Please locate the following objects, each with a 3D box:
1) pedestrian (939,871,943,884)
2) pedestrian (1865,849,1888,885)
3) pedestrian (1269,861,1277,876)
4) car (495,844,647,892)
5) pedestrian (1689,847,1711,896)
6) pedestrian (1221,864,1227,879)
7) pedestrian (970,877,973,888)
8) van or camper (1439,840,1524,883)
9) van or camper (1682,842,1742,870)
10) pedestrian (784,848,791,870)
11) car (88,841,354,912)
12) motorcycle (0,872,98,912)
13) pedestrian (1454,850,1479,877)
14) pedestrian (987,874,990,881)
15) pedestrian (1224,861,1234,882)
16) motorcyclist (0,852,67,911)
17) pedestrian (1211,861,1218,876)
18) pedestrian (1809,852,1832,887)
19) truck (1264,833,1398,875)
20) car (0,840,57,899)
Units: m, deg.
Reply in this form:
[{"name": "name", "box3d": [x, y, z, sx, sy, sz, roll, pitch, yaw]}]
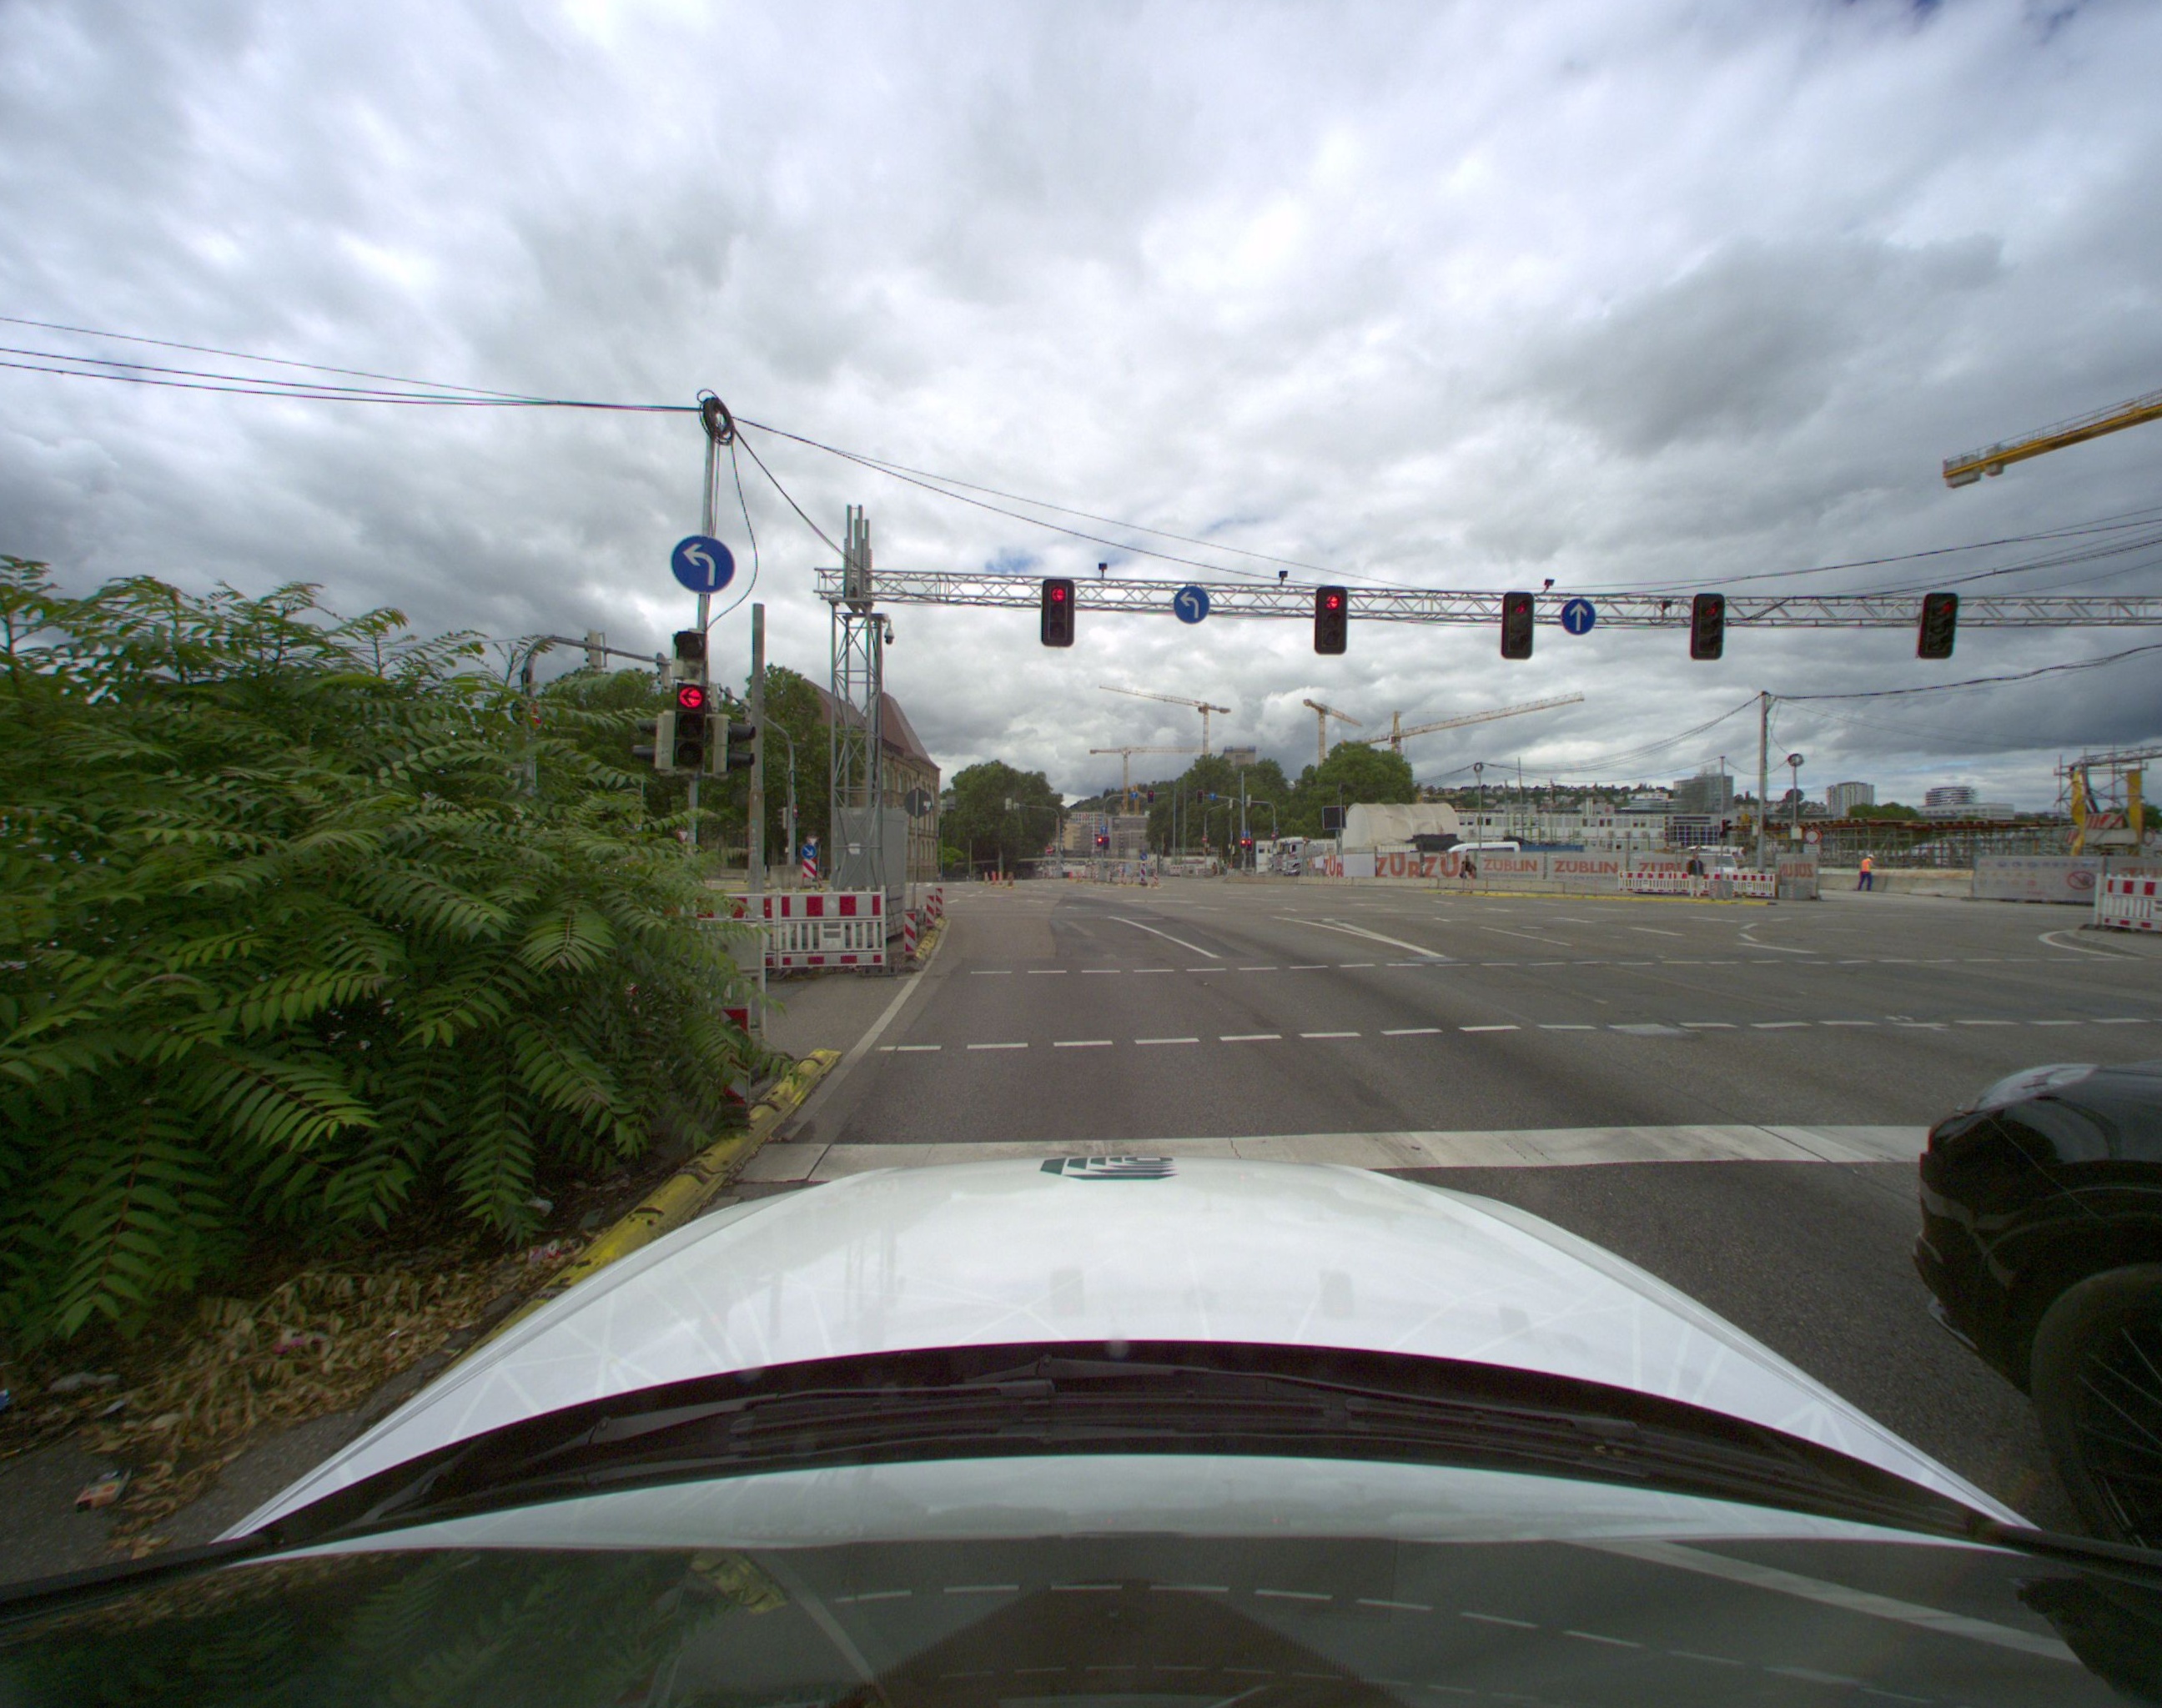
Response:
[{"name": "pedestrian", "box3d": [-20.929, 3.534, 122.029, 0.522, 2.014, 0.567, 0, 0, 2]}, {"name": "pedestrian", "box3d": [39.193, 0.638, 40.107, 0.651, 1.717, 0.516, 0, 0, -9]}, {"name": "pedestrian", "box3d": [21.137, 1.594, 89.709, 0.615, 1.689, 0.716, 0, 0, 31]}, {"name": "car", "box3d": [-18.823, 0.505, 30.256, 4.315, 1.676, 1.992, 0, 0, -12]}, {"name": "pedestrian", "box3d": [25.627, 0.730, 33.724, 0.645, 2.013, 0.520, 0, 0, 27]}, {"name": "pedestrian", "box3d": [15.909, 1.980, 90.539, 0.564, 1.689, 0.472, 0, 0, 1]}, {"name": "pedestrian", "box3d": [-20.891, 5.431, 155.162, 0.522, 2.014, 0.567, 0, 0, 2]}, {"name": "van or camper", "box3d": [23.149, 0.420, 47.207, 4.181, 2.357, 2.009, 0, 0, 16]}, {"name": "van or camper", "box3d": [67.344, 0.198, 86.899, 5.282, 2.911, 1.993, 0, -1, -10]}, {"name": "pedestrian", "box3d": [-26.693, 0.426, 74.088, 0.530, 2.014, 0.423, 1, -1, -42]}, {"name": "car", "box3d": [-21.216, 0.531, 20.265, 4.302, 1.676, 1.998, 0, 0, -3]}, {"name": "motorcycle", "box3d": [-25.476, 0.923, 19.819, 2.051, 0.924, 0.756, 0, 0, -4]}, {"name": "pedestrian", "box3d": [20.078, 0.501, 42.415, 0.803, 1.378, 0.895, 0, 0, -37]}, {"name": "pedestrian", "box3d": [-20.254, 5.133, 178.132, 0.534, 1.592, 0.515, 0, 0, -2]}, {"name": "pedestrian", "box3d": [12.250, 1.432, 67.375, 0.726, 1.689, 0.678, 0, 0, 1]}, {"name": "motorcyclist", "box3d": [-25.621, 0.656, 19.804, 0.963, 1.423, 0.745, 0, 0, -4]}, {"name": "pedestrian", "box3d": [14.847, 1.631, 90.519, 0.726, 1.689, 0.678, 0, 0, 1]}, {"name": "pedestrian", "box3d": [39.052, 0.814, 42.996, 0.651, 1.795, 0.617, 0, 0, -9]}, {"name": "truck", "box3d": [25.037, -0.030, 81.593, 13.062, 4.041, 3.926, 0, 0, -18]}, {"name": "car", "box3d": [-32.905, 0.435, 23.348, 4.302, 1.676, 1.998, 0, 0, -3]}]
